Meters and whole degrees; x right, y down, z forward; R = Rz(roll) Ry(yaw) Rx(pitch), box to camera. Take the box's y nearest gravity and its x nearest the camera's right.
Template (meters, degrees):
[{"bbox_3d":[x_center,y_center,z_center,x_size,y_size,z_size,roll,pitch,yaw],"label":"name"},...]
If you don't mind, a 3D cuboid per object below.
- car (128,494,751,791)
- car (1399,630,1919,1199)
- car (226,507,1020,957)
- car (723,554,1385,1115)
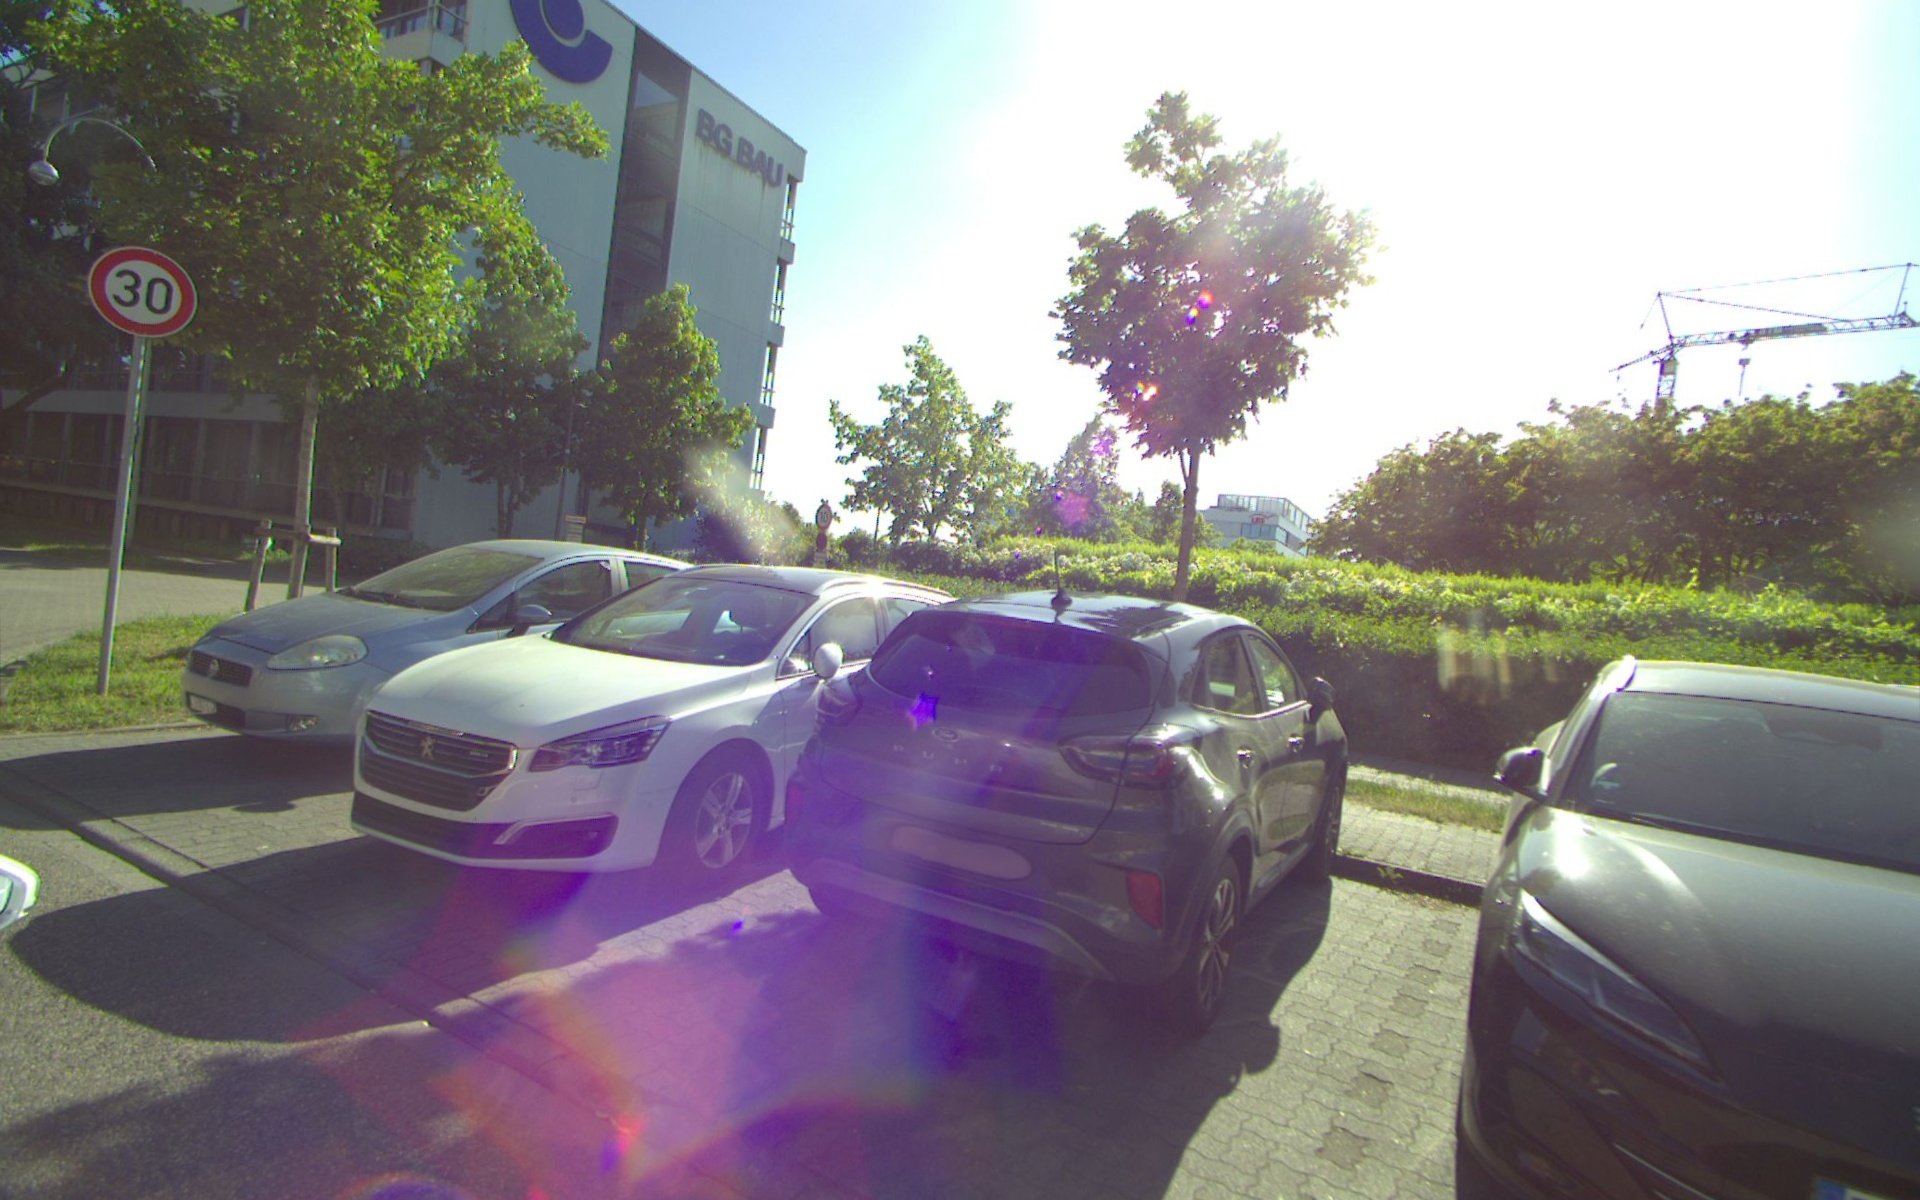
[{"bbox_3d":[-3.498,0.225,7.614,1.671,1.535,3.954,6,2,24],"label":"car"},{"bbox_3d":[3.058,0.994,3.619,2.122,1.535,4.551,6,2,30],"label":"car"},{"bbox_3d":[-1.405,0.478,6.131,1.946,1.535,4.557,6,2,24],"label":"car"},{"bbox_3d":[0.866,0.720,5.045,1.721,1.535,3.877,6,2,30],"label":"car"}]
